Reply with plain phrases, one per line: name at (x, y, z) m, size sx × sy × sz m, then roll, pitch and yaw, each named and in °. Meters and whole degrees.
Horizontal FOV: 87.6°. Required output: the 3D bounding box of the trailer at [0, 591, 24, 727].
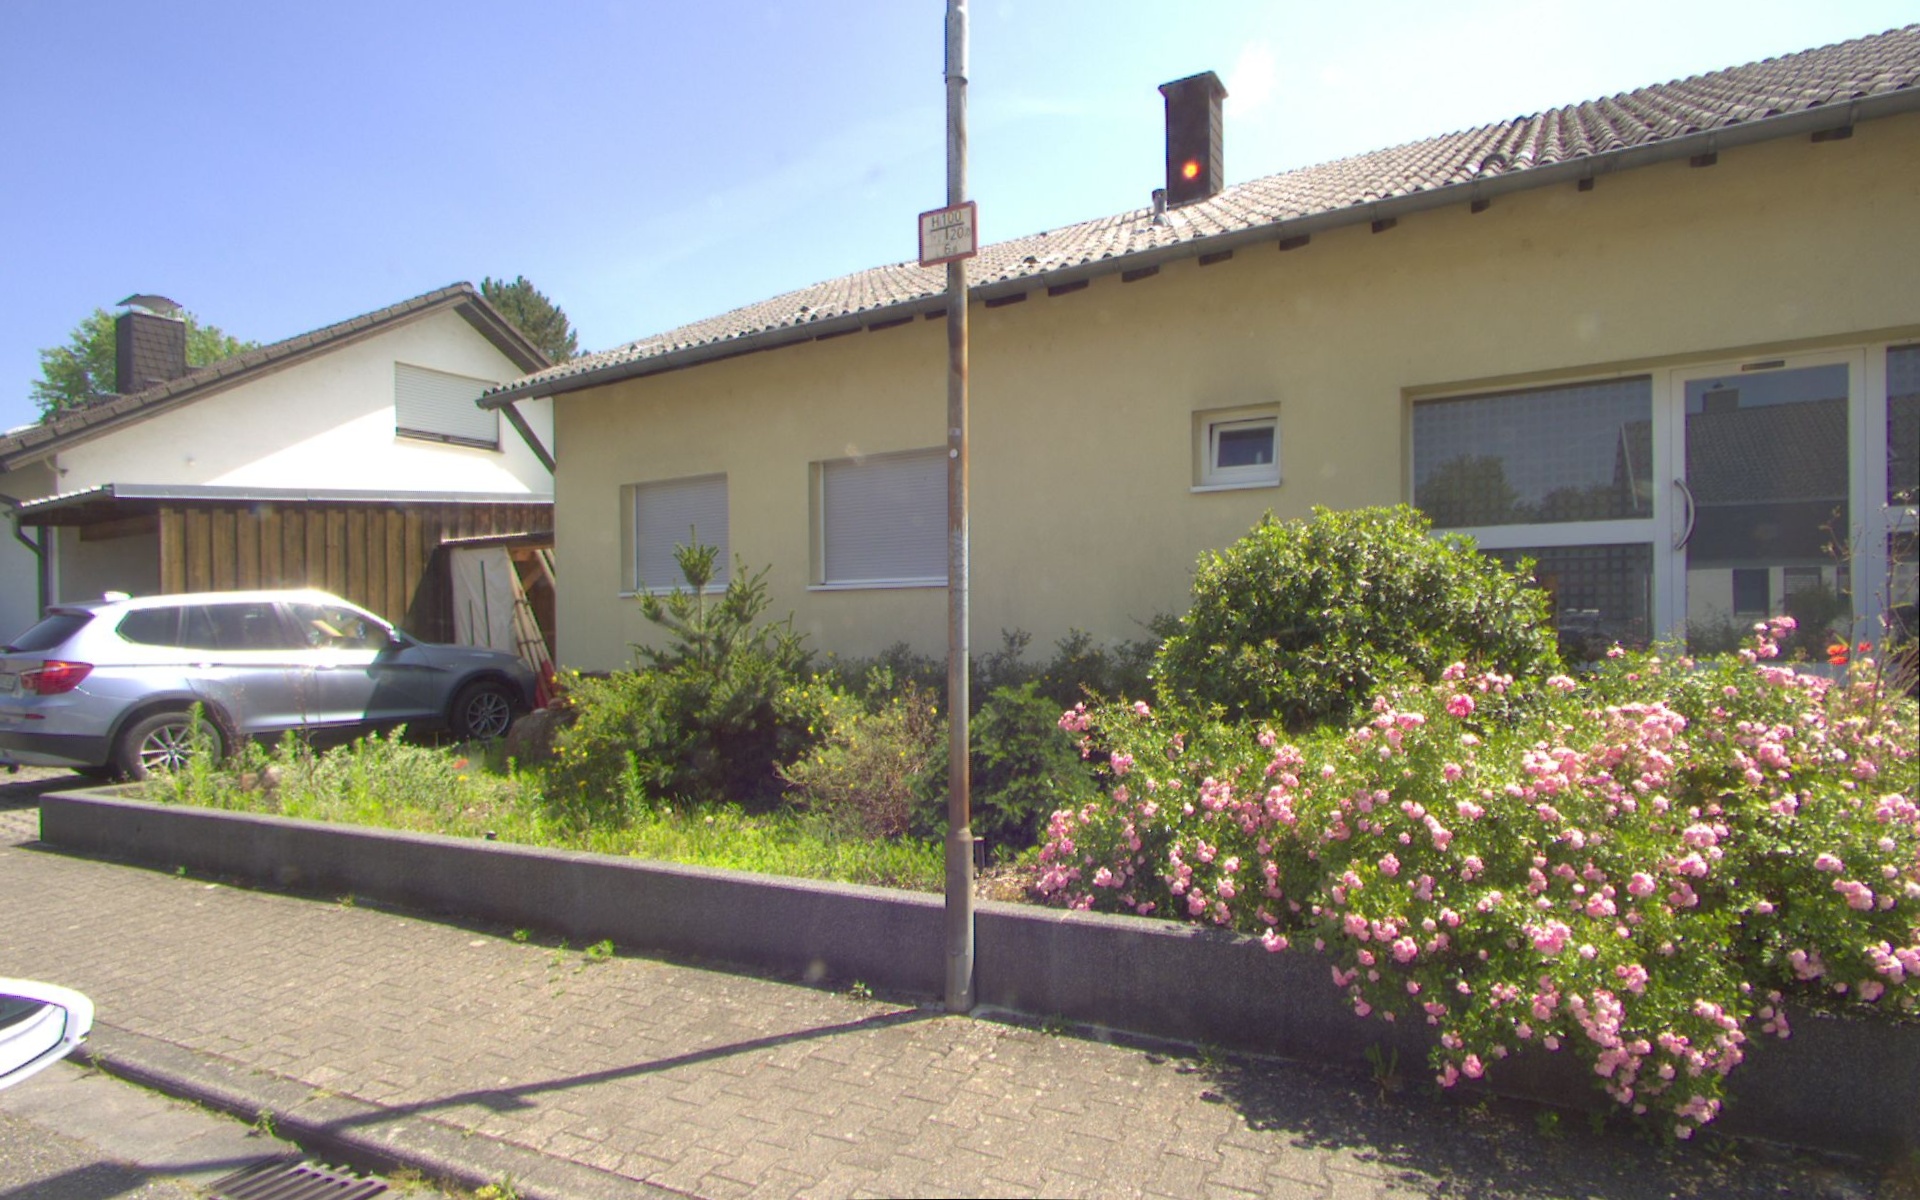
trailer at (-13.638, 0.753, 12.851) m, size 3.249 × 1.695 × 1.583 m, roll 0°, pitch 1°, yaw 32°

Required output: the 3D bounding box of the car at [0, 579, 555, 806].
car at (-6.617, 0.680, 9.986) m, size 1.686 × 1.725 × 4.613 m, roll -1°, pitch 1°, yaw 34°
